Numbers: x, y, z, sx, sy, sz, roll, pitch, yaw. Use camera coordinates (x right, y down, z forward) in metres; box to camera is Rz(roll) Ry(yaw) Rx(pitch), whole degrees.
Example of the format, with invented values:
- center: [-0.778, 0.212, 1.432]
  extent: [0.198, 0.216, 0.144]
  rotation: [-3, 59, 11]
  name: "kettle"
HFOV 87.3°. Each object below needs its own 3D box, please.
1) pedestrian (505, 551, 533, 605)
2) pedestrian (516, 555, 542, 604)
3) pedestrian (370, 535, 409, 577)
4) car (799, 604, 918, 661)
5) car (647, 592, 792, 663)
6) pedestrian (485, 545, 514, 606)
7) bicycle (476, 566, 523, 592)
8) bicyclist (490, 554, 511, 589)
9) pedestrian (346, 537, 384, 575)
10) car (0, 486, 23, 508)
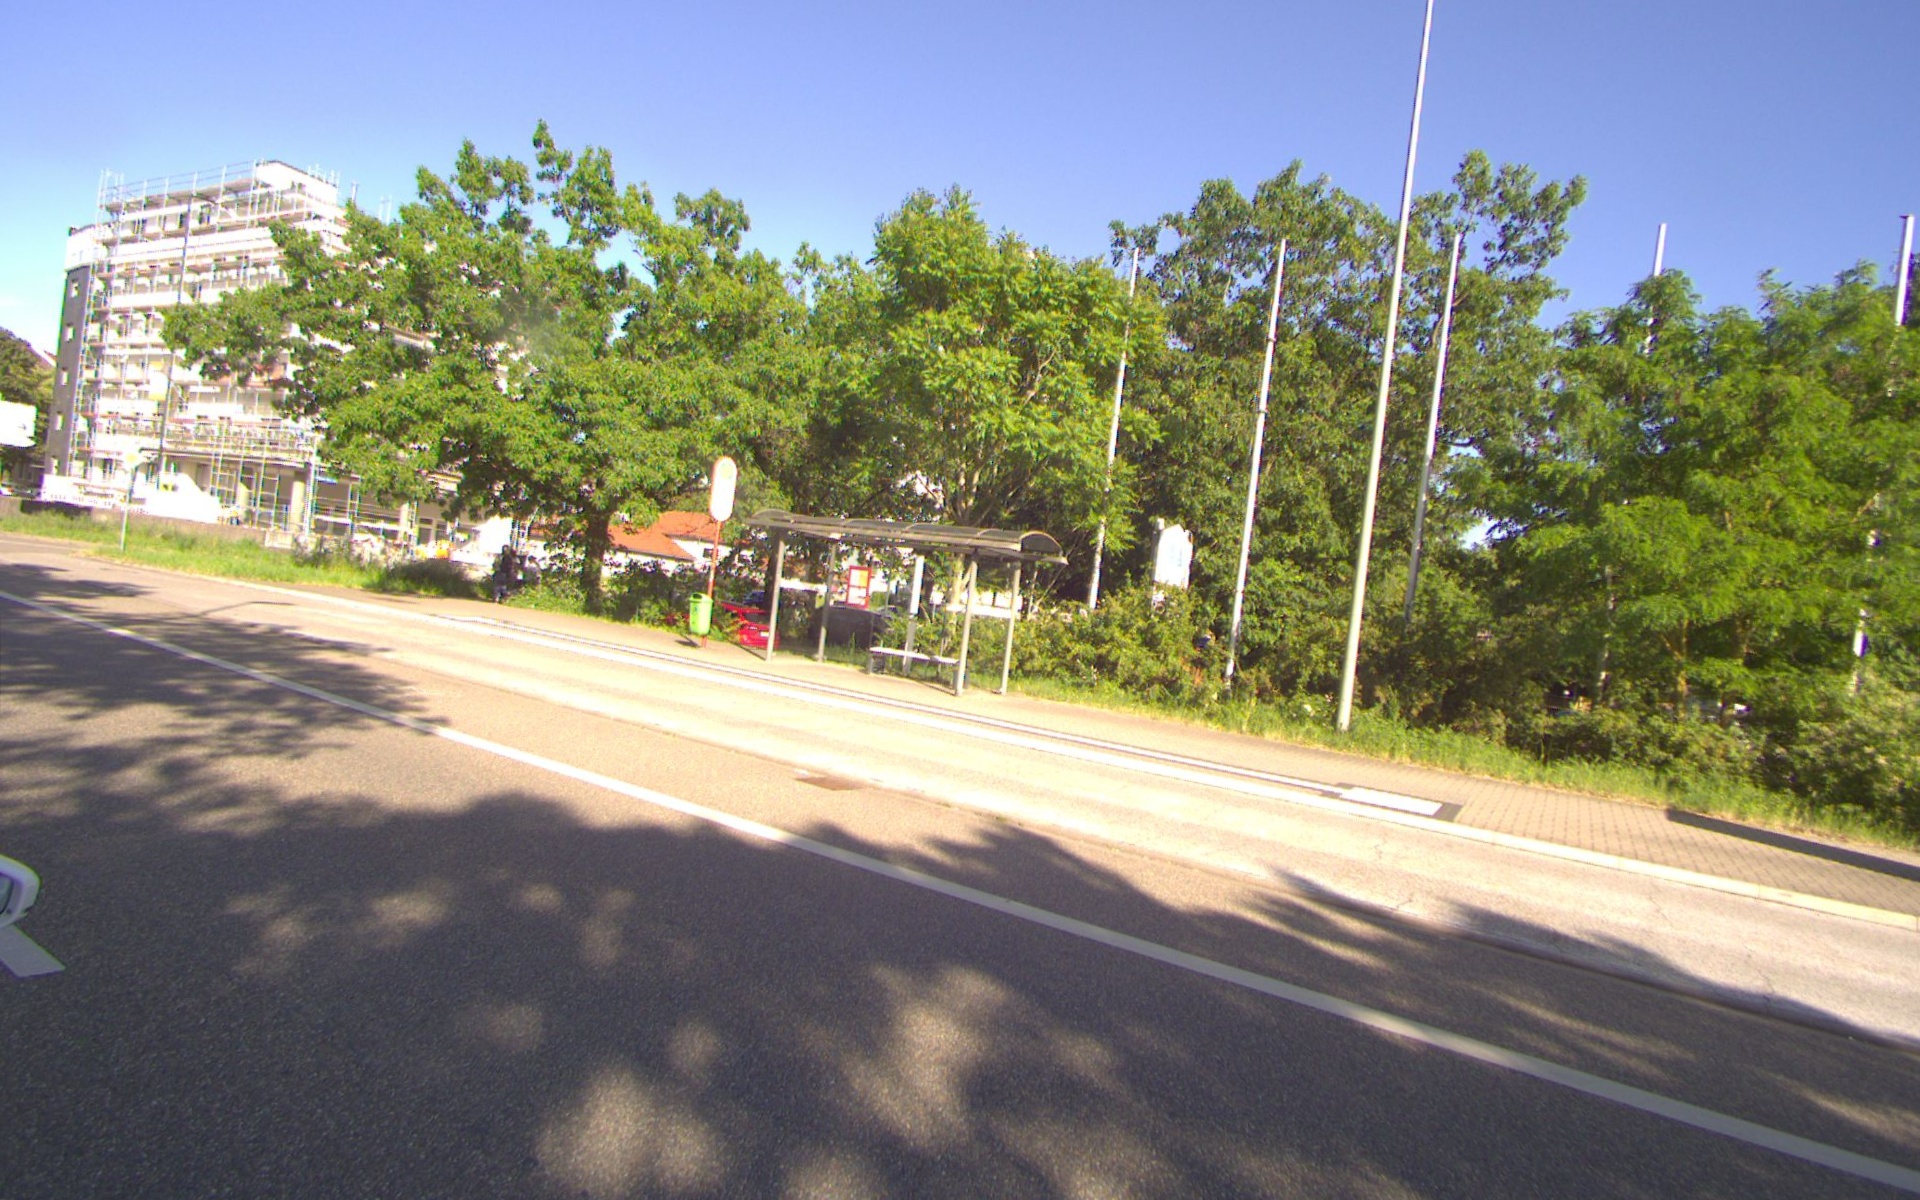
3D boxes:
- center: [-12.780, -0.638, 29.137]
  extent: [0.517, 1.465, 0.587]
  rotation: [7, 1, -32]
  name: "pedestrian"
- center: [-13.420, -0.635, 31.352]
  extent: [0.517, 1.465, 0.587]
  rotation: [7, 1, -32]
  name: "pedestrian"
- center: [-25.345, -1.942, 44.701]
  extent: [0.969, 1.674, 0.892]
  rotation: [7, 0, 12]
  name: "pedestrian"
- center: [-3.589, 1.175, 35.977]
  extent: [3.674, 1.504, 1.914]
  rotation: [7, 0, 13]
  name: "car"
- center: [-6.878, 0.794, 28.744]
  extent: [3.680, 1.504, 1.755]
  rotation: [7, 0, 28]
  name: "car"
- center: [-12.990, -0.698, 28.378]
  extent: [0.517, 1.632, 0.587]
  rotation: [7, 1, -32]
  name: "pedestrian"
- center: [-20.981, -0.966, 45.875]
  extent: [1.784, 0.956, 0.553]
  rotation: [8, 0, -44]
  name: "bicycle"
- center: [-20.950, -1.291, 45.853]
  extent: [0.582, 1.511, 0.543]
  rotation: [7, 1, -43]
  name: "bicyclist"
- center: [-25.848, -1.903, 43.719]
  extent: [0.948, 1.465, 0.895]
  rotation: [7, 0, 17]
  name: "pedestrian"
- center: [-66.608, -7.215, 70.168]
  extent: [1.521, 1.330, 3.250]
  rotation: [7, 0, -40]
  name: "car"
